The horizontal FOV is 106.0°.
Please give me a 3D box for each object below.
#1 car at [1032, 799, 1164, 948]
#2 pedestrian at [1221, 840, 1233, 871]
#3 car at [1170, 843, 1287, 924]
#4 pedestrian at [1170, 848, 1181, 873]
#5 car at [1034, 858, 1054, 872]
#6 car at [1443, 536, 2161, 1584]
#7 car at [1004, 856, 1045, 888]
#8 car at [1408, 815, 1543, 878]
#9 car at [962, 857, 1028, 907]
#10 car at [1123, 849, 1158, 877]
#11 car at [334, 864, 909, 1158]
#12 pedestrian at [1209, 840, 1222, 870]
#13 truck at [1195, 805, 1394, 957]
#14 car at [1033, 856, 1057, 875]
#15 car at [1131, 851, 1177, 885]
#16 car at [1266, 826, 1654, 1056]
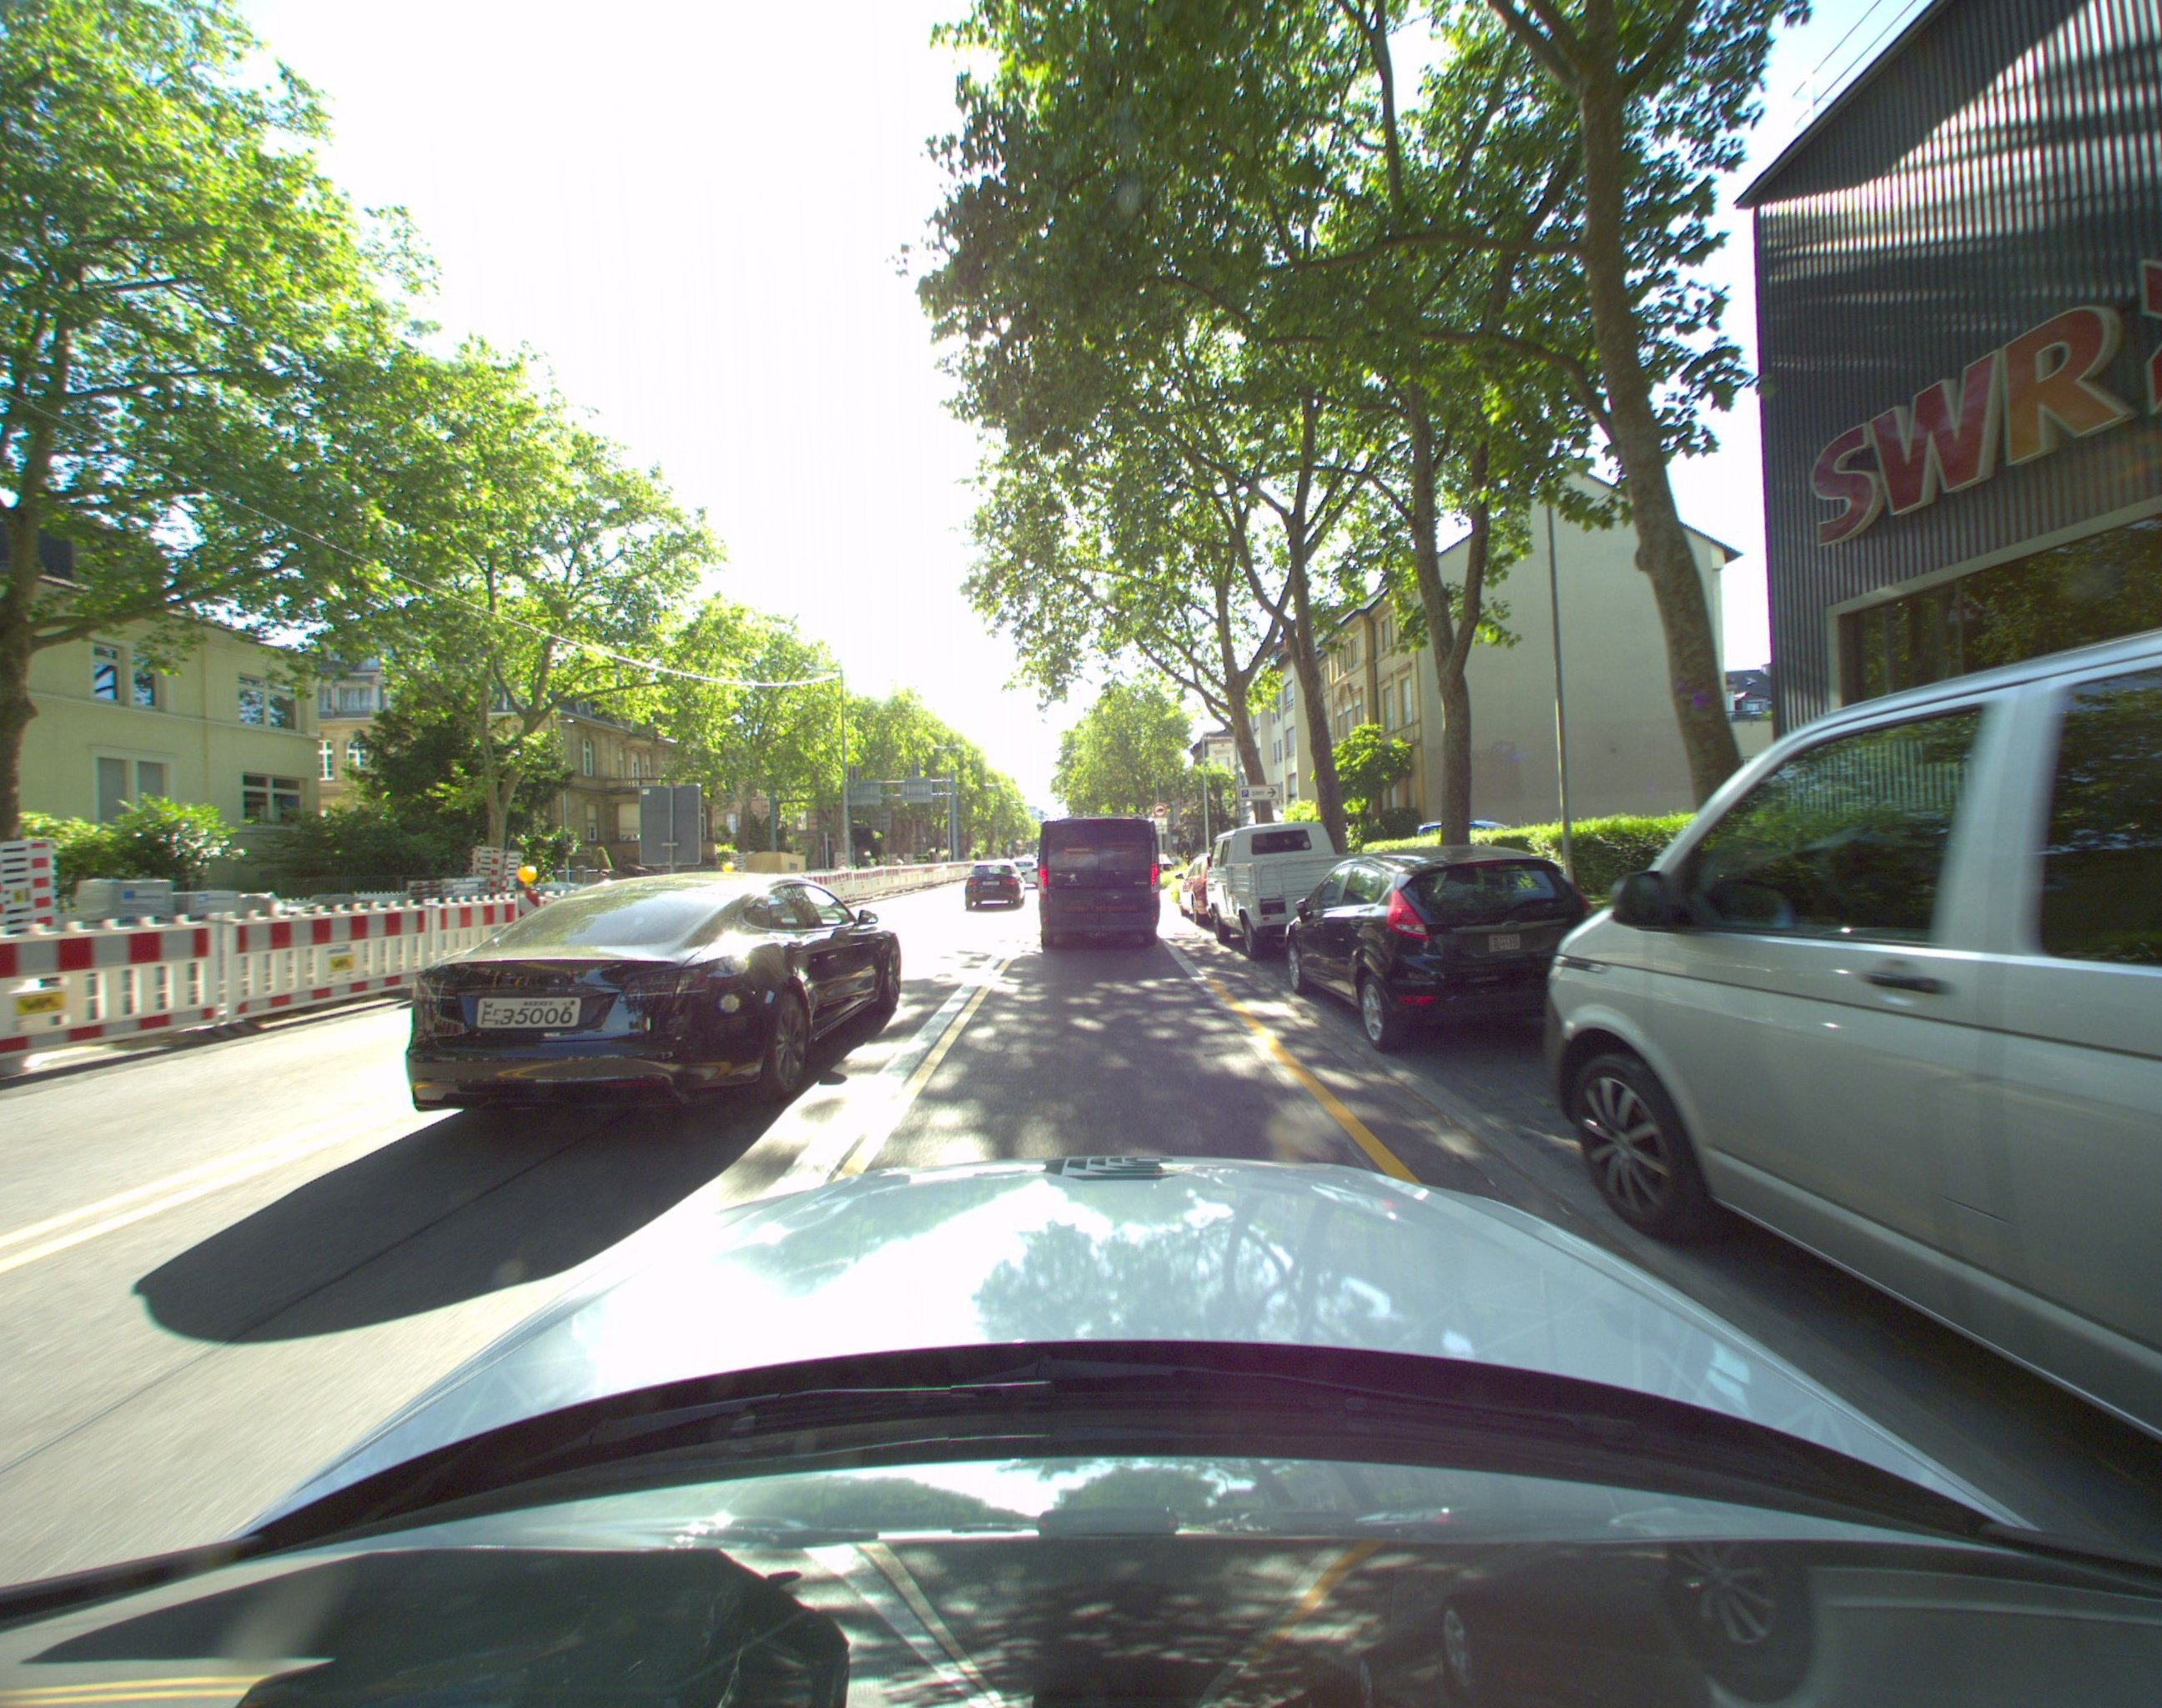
[{"bbox_3d":[0.256,0.295,15.076,2.089,2.355,3.932,-1,0,-1],"label":"car"},{"bbox_3d":[8.576,0.082,47.849,0.650,1.755,1.016,-3,-1,9],"label":"pedestrian"},{"bbox_3d":[3.173,0.592,18.444,1.815,1.507,4.677,-3,0,1],"label":"car"},{"bbox_3d":[7.843,0.533,67.556,0.794,2.013,1.170,-3,-1,5],"label":"pedestrian"},{"bbox_3d":[-4.147,1.211,92.139,1.986,1.470,4.001,0,1,1],"label":"car"},{"bbox_3d":[3.003,0.364,1.787,2.019,1.946,5.272,-2,0,0],"label":"car"},{"bbox_3d":[-2.715,0.849,39.845,1.541,1.425,3.557,-2,0,3],"label":"car"},{"bbox_3d":[12.391,-0.222,25.747,1.716,1.853,3.472,-1,0,-33],"label":"car"},{"bbox_3d":[-2.635,0.831,25.862,1.741,1.407,3.998,-1,0,-1],"label":"car"},{"bbox_3d":[3.795,0.550,52.268,1.839,1.644,3.798,-4,0,-1],"label":"car"},{"bbox_3d":[-2.826,0.823,6.463,1.919,1.412,4.625,-1,0,0],"label":"car"},{"bbox_3d":[7.959,0.075,48.284,0.671,1.755,0.877,-3,-1,9],"label":"pedestrian"},{"bbox_3d":[3.084,0.360,12.800,1.871,1.881,4.453,-3,0,0],"label":"truck"},{"bbox_3d":[-2.477,0.774,56.916,1.416,1.225,3.439,-2,0,1],"label":"car"},{"bbox_3d":[3.477,0.654,39.309,1.838,1.442,4.487,-3,0,1],"label":"car"},{"bbox_3d":[3.011,0.594,7.533,1.741,1.477,4.103,-3,0,2],"label":"car"}]
